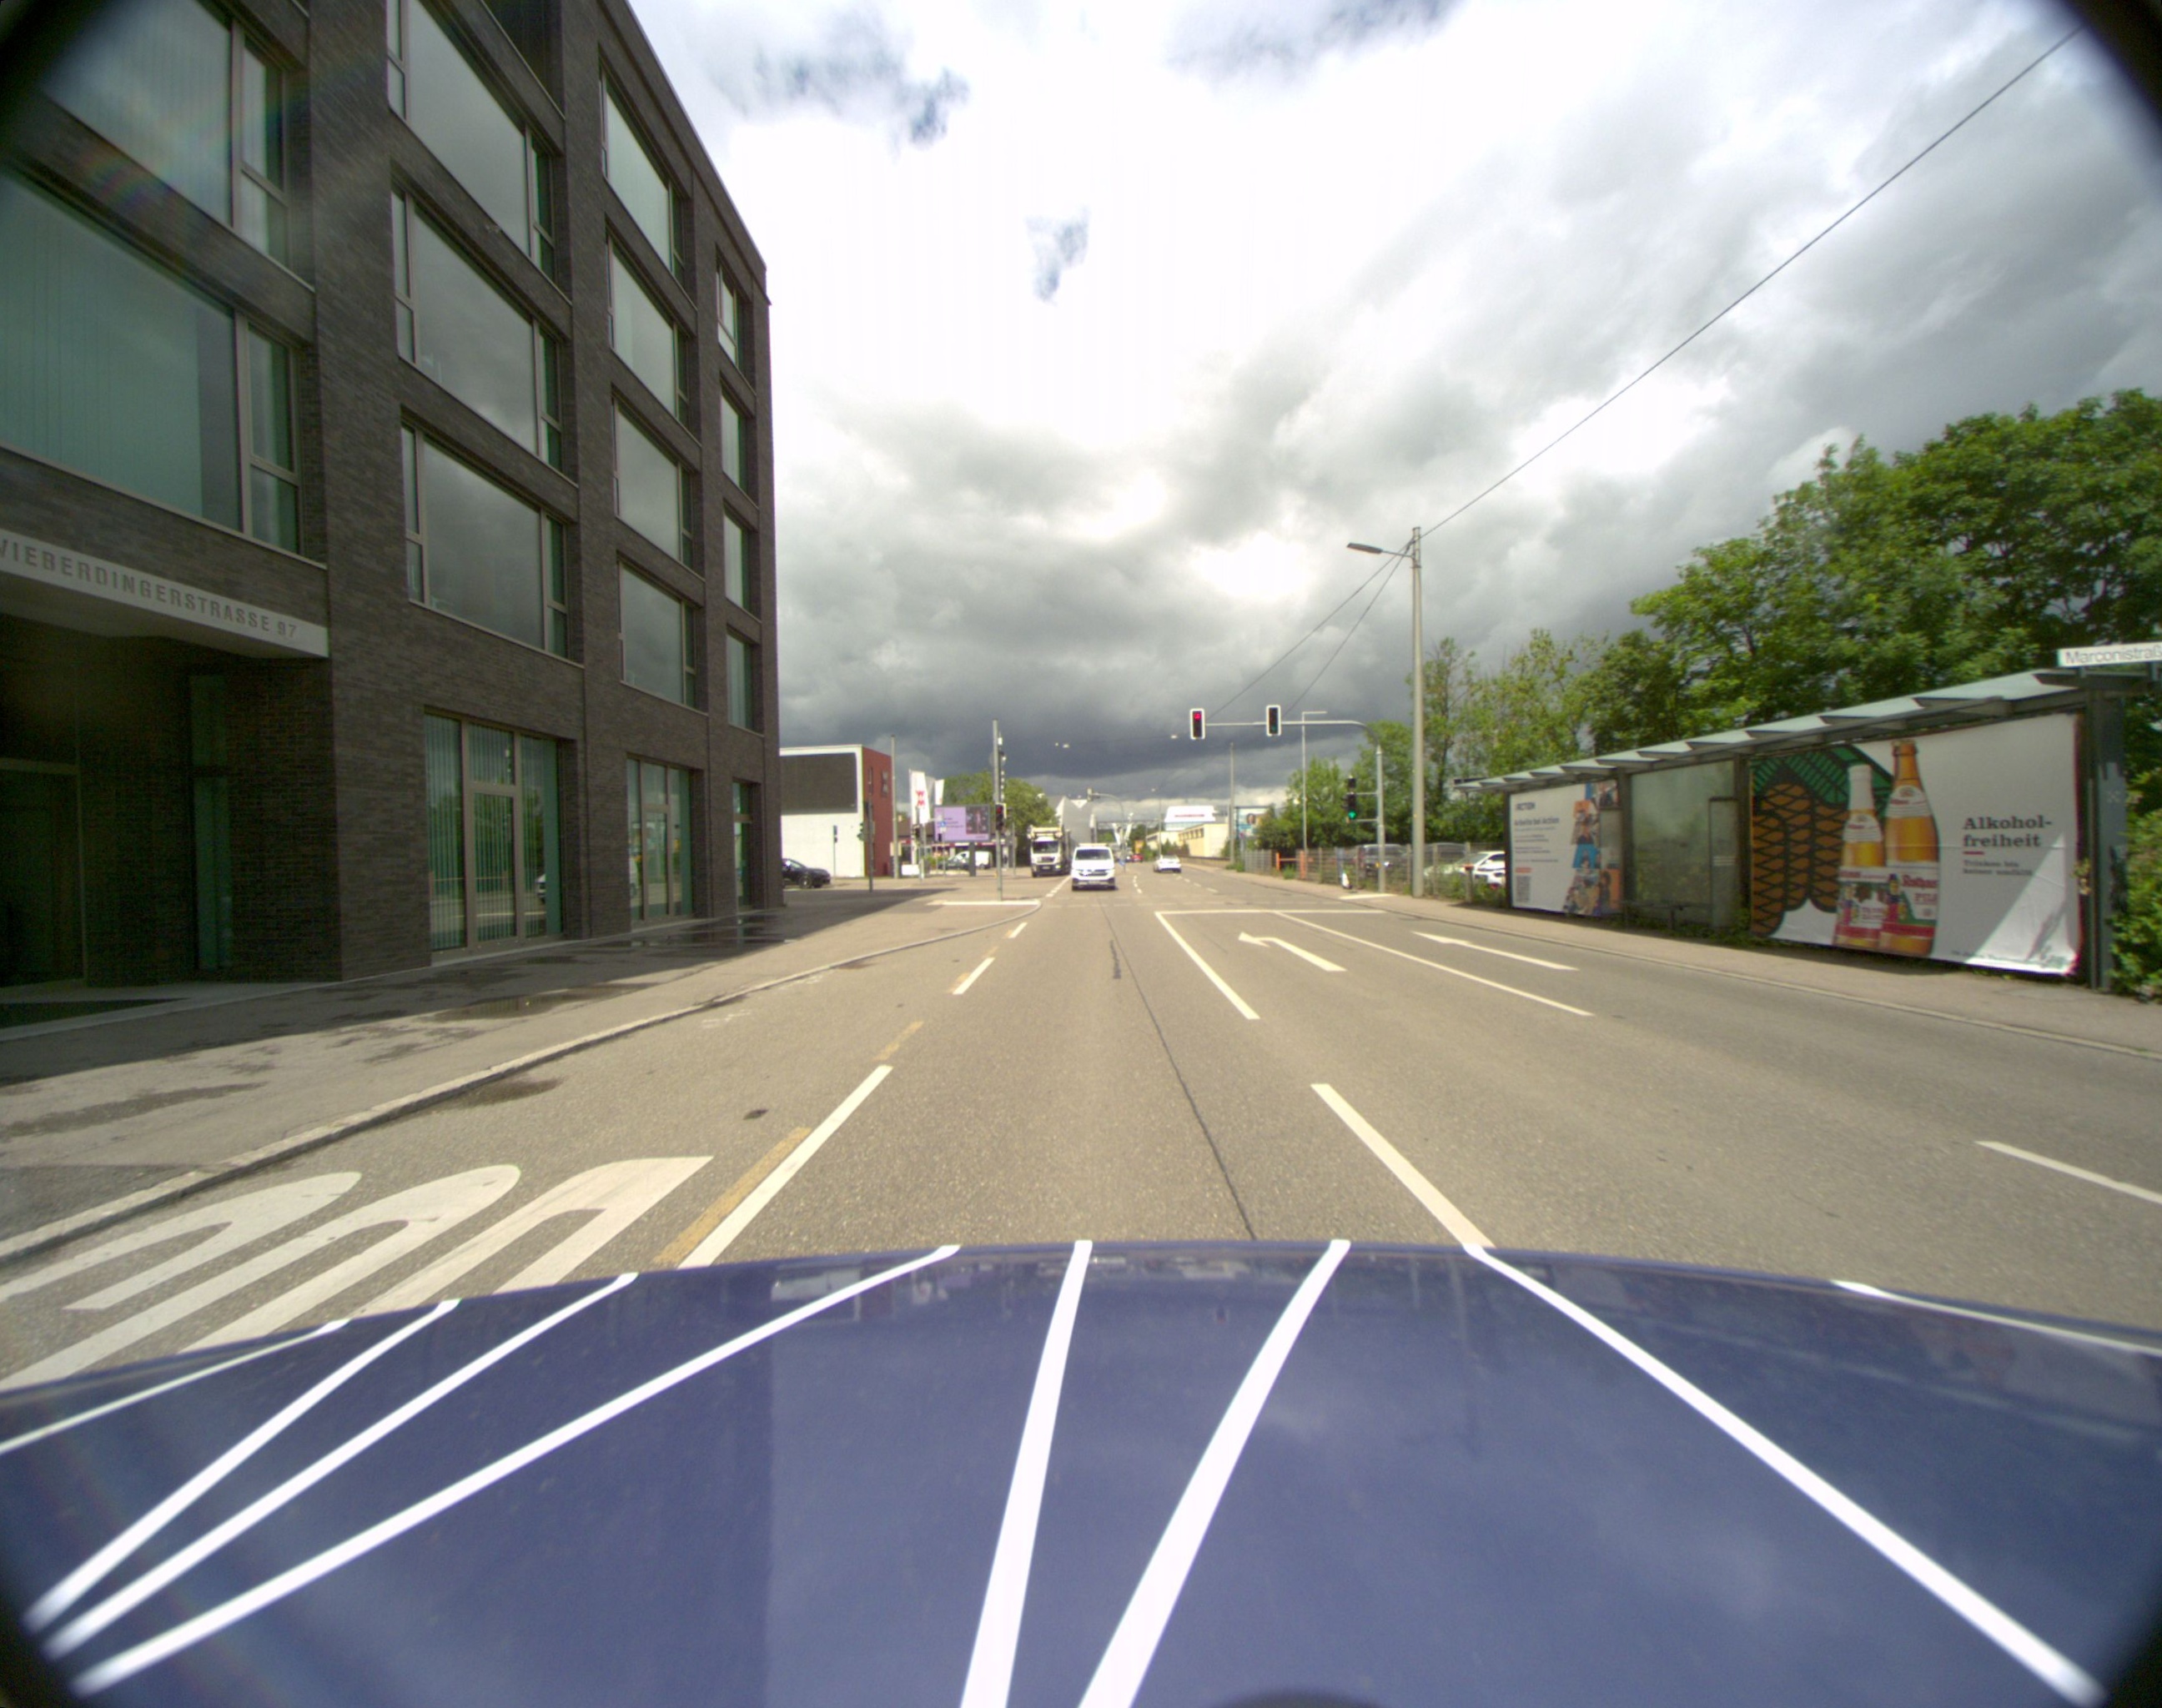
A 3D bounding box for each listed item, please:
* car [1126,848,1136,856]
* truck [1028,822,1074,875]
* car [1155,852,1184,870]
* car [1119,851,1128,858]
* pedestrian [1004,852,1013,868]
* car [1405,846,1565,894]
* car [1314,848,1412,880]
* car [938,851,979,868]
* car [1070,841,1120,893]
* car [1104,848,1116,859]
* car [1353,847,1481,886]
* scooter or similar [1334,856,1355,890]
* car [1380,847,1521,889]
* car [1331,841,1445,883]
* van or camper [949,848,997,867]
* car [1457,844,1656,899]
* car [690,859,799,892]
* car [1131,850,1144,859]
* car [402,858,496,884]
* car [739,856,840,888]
[{"bbox_3d":[10.492,-0.342,160.309,1.860,1.608,4.000,-2,0,1],"label":"car"},{"bbox_3d":[-2.225,-0.491,60.852,2.836,3.890,10.365,-1,1,2],"label":"truck"},{"bbox_3d":[6.953,0.554,59.920,1.801,1.368,4.224,0,0,0],"label":"car"},{"bbox_3d":[9.965,0.204,179.395,1.860,1.608,4.000,-2,0,1],"label":"car"},{"bbox_3d":[-7.879,0.663,82.352,0.714,1.698,0.739,6,2,2],"label":"pedestrian"},{"bbox_3d":[12.871,0.489,24.417,4.112,1.411,1.916,-1,1,1],"label":"car"},{"bbox_3d":[13.178,0.444,35.658,3.864,1.411,1.901,-1,1,-8],"label":"car"},{"bbox_3d":[-12.241,0.518,76.256,3.675,1.477,1.762,3,1,3],"label":"car"},{"bbox_3d":[0.671,0.503,32.670,1.935,2.078,4.208,-1,1,3],"label":"car"},{"bbox_3d":[4.656,-0.056,122.197,1.870,1.782,4.207,-1,0,0],"label":"car"},{"bbox_3d":[13.100,0.470,29.783,4.113,1.411,2.000,-1,1,0],"label":"car"},{"bbox_3d":[9.971,0.708,28.750,0.424,1.203,1.126,-3,0,5],"label":"scooter or similar"},{"bbox_3d":[13.232,0.477,27.373,4.114,1.411,1.999,-1,1,-2],"label":"car"},{"bbox_3d":[13.210,0.322,32.877,4.114,1.724,1.999,-1,1,-4],"label":"car"},{"bbox_3d":[-11.983,0.410,84.257,4.909,1.946,2.212,1,1,2],"label":"van or camper"},{"bbox_3d":[13.228,0.456,21.371,4.321,1.411,2.025,-1,1,2],"label":"car"},{"bbox_3d":[-16.776,1.041,38.033,4.535,1.484,2.000,-1,1,1],"label":"car"},{"bbox_3d":[9.476,0.063,128.178,1.935,1.590,4.153,1,0,1],"label":"car"},{"bbox_3d":[-40.476,1.071,48.714,4.311,1.561,1.870,-1,1,-5],"label":"car"},{"bbox_3d":[-15.627,0.953,40.928,4.651,1.609,2.000,-1,0,0],"label":"car"}]
